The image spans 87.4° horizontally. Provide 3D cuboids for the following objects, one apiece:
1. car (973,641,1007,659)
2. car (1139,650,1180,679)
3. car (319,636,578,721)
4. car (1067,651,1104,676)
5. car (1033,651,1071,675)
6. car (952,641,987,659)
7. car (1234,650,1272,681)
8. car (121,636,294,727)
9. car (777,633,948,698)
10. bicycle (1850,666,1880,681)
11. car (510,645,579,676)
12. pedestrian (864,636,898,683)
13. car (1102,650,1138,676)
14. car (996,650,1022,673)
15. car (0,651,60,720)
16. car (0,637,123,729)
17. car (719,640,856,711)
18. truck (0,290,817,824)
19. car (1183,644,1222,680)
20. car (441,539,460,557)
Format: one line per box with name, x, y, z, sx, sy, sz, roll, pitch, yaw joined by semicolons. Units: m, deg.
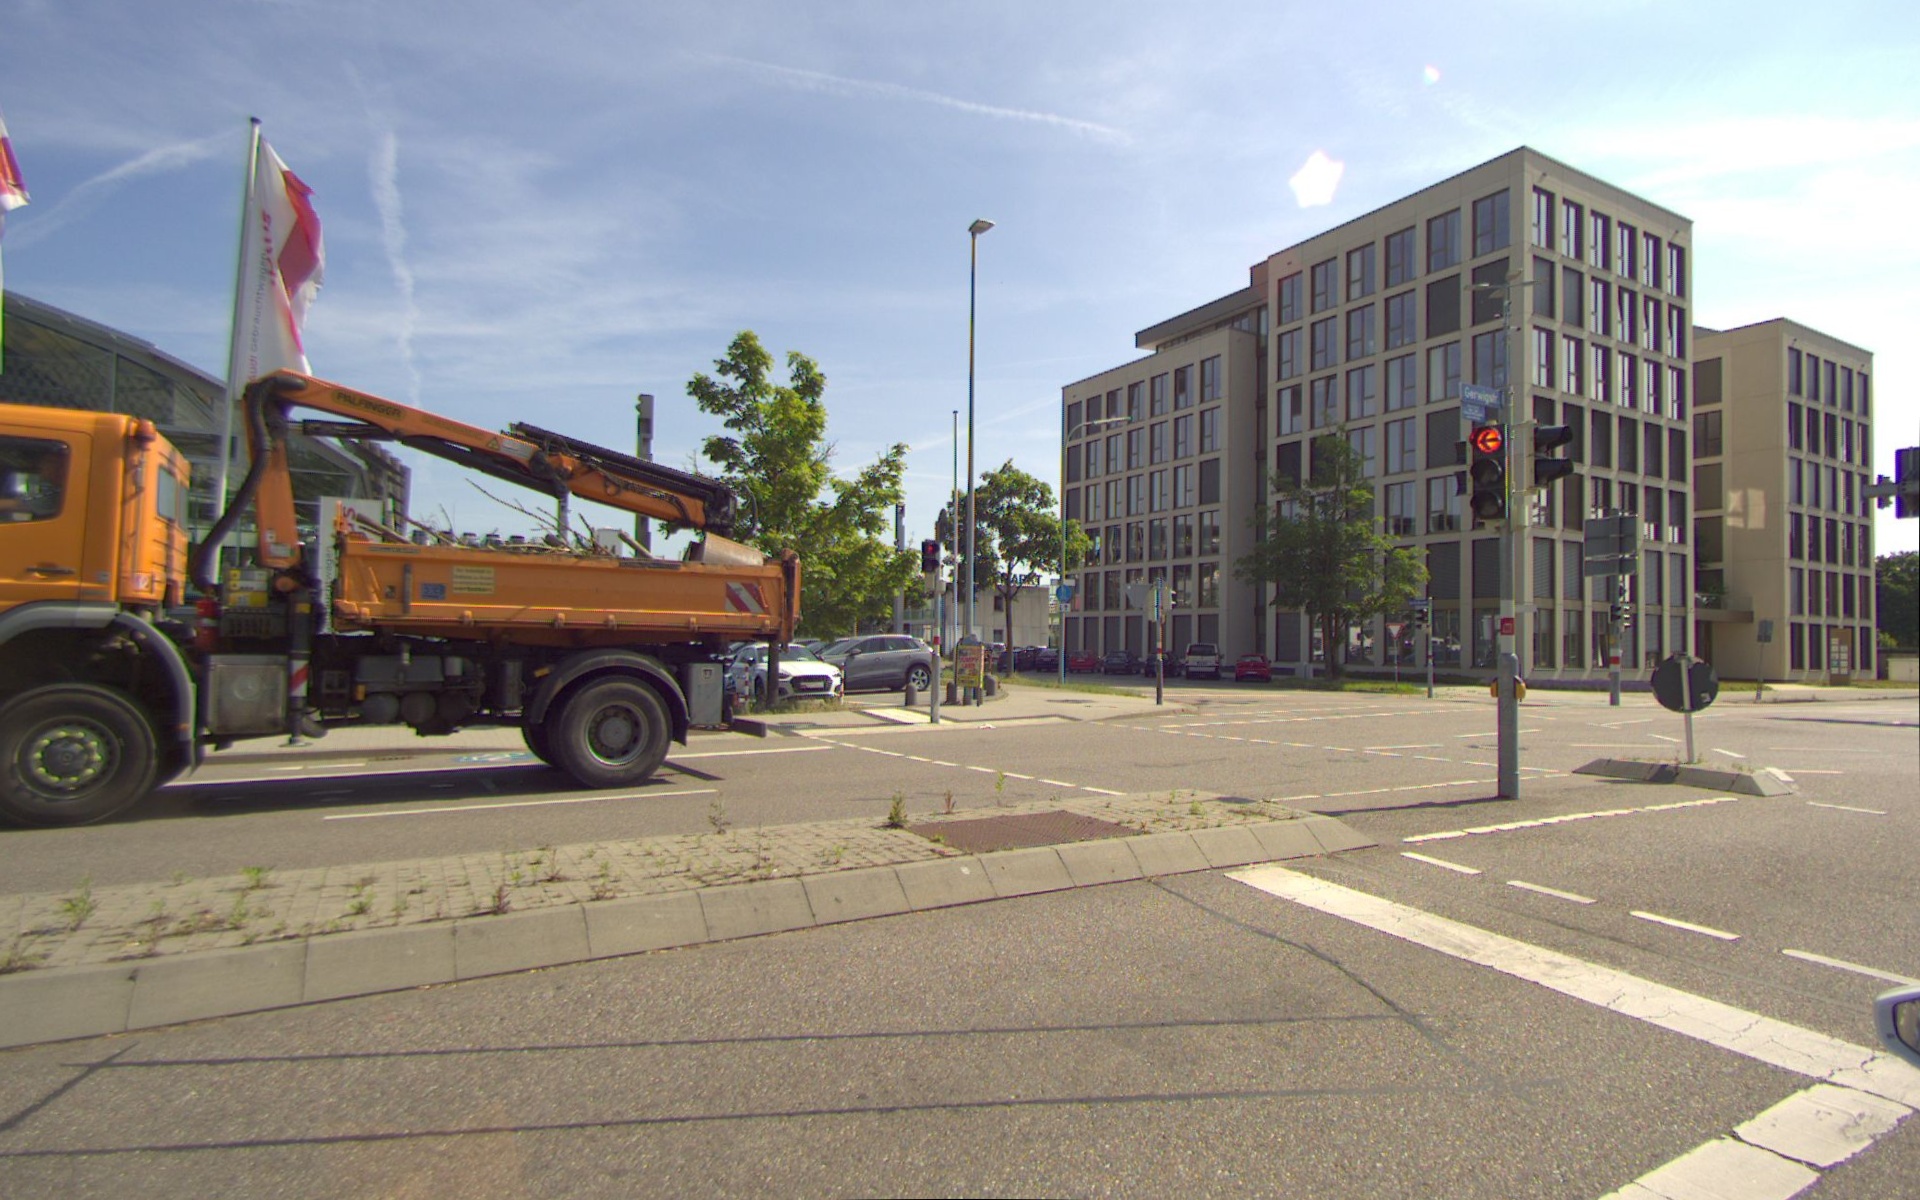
car;2.932;4.945;99.839;1.678;1.706;3.939;2;-2;-26
car;11.544;3.681;57.913;1.772;1.533;4.001;0;-2;20
car;-10.060;1.519;19.976;4.373;1.515;1.790;2;-3;-30
car;8.060;4.014;64.227;1.655;1.499;4.002;0;-2;17
car;6.097;4.153;66.516;1.686;1.434;4.002;0;-2;17
car;0.907;4.888;98.393;1.727;1.706;3.974;2;-2;-26
car;15.228;3.362;52.050;1.772;1.434;4.032;0;-2;18
car;-12.931;1.426;17.516;1.856;1.387;4.055;2;-5;-30
car;-2.766;1.816;28.752;4.540;1.635;1.806;-1;-2;-30
bicycle;71.558;5.785;79.446;0.581;1.105;1.696;2;-2;-28
car;-20.588;3.000;49.914;1.762;1.461;4.028;1;-3;-1
pedestrian;-3.029;2.260;38.464;0.906;1.772;0.996;2;-3;-30
car;9.816;3.828;61.441;1.628;1.517;3.965;0;-2;17
car;3.245;4.088;67.390;1.638;1.434;3.617;0;-2;1
car;-22.846;1.981;23.833;1.506;1.492;3.491;2;-3;-30
car;-15.182;1.341;16.197;1.846;1.336;3.971;2;-5;-29
car;-4.067;1.665;23.094;1.876;1.451;4.357;2;-3;-27
truck;-5.355;-0.150;9.471;7.496;3.727;2.732;3;-4;-32
car;13.371;3.363;55.220;1.860;1.845;4.817;0;-2;16
car;-62.597;-6.354;123.415;2.012;1.738;3.971;3;-3;-28
